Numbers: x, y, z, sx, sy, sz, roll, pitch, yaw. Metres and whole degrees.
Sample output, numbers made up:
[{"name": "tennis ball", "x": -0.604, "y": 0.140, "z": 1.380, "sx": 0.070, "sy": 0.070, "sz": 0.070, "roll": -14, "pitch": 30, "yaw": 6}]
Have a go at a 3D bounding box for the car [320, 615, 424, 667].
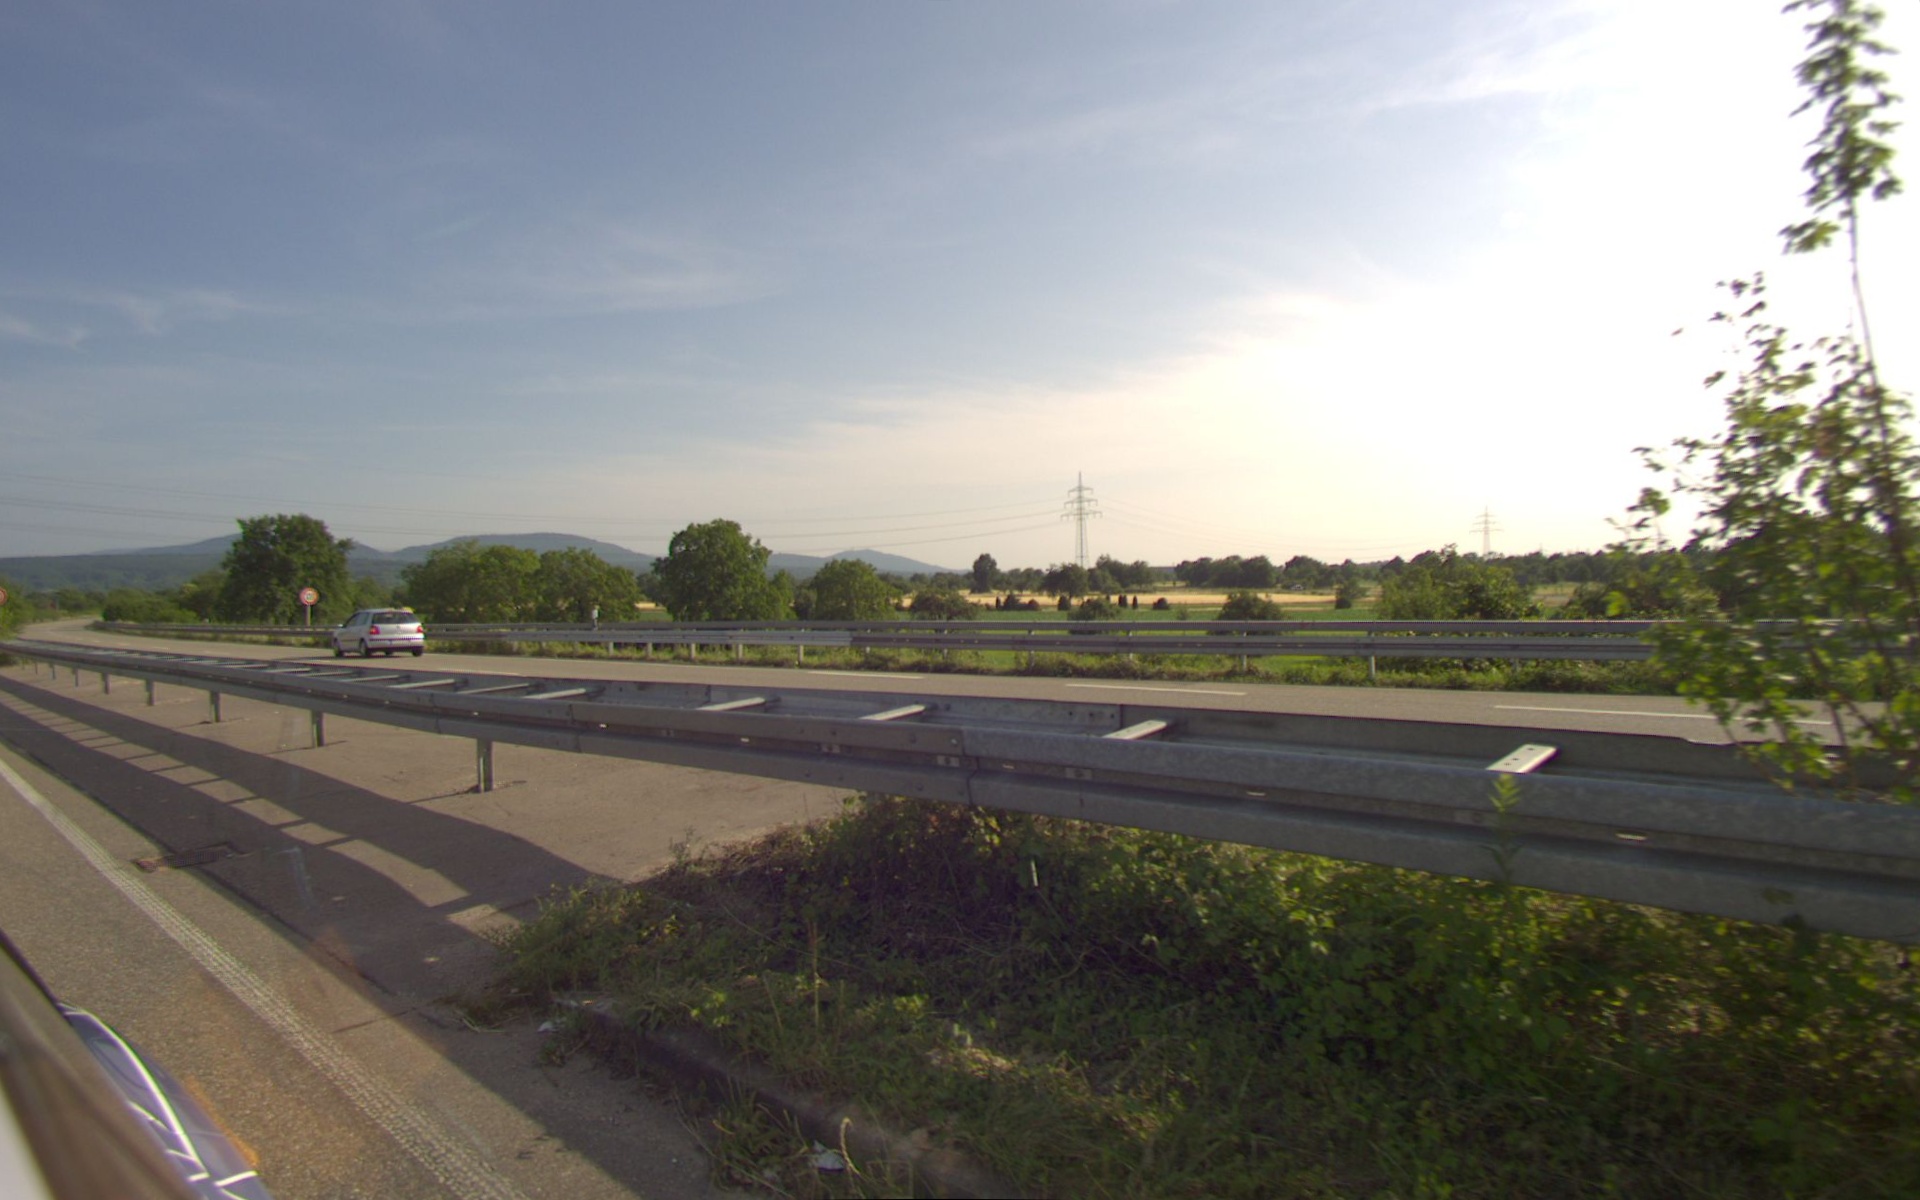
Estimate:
[{"name": "car", "x": -17.960, "y": 1.217, "z": 30.847, "sx": 4.000, "sy": 1.431, "sz": 1.622, "roll": -1, "pitch": 0, "yaw": 43}]
